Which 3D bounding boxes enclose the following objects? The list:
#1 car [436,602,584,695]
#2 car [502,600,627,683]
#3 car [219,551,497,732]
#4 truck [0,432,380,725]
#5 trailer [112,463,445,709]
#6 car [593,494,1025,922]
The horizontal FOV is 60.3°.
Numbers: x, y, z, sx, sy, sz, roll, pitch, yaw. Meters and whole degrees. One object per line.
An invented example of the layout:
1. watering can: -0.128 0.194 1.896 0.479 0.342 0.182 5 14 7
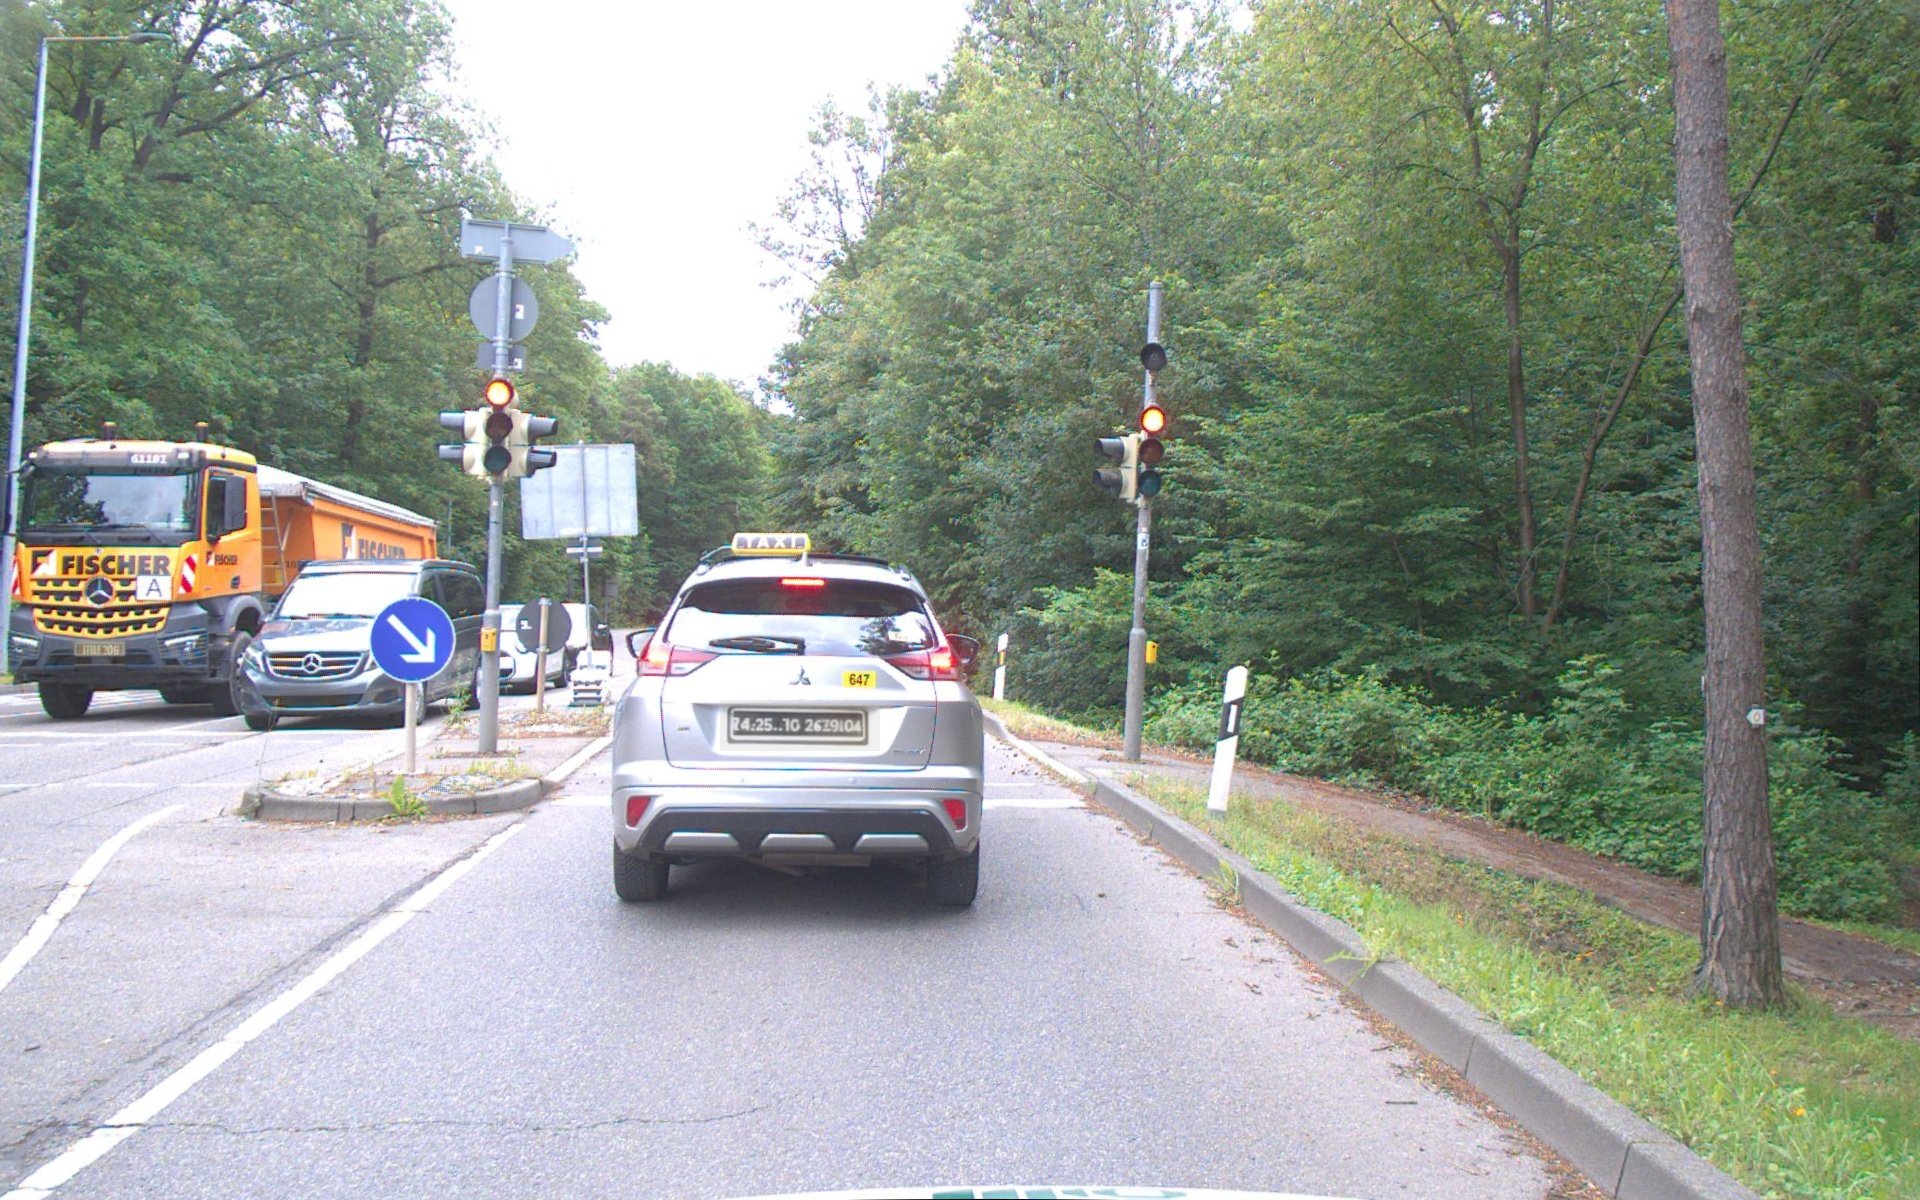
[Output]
1. car: -7.387 0.756 27.454 1.580 1.344 3.719 -1 1 -3
2. car: -7.911 0.804 33.379 1.775 1.534 3.719 -1 0 -3
3. car: -7.141 0.462 20.193 1.954 1.927 4.834 -1 -1 -5
4. truck: -10.267 -0.201 22.765 2.686 3.376 7.150 0 -1 -6
5. trailer: -10.705 -0.136 27.068 2.686 3.376 8.557 0 -1 -6
6. car: -0.842 0.474 9.135 1.811 1.811 3.995 2 0 -6
